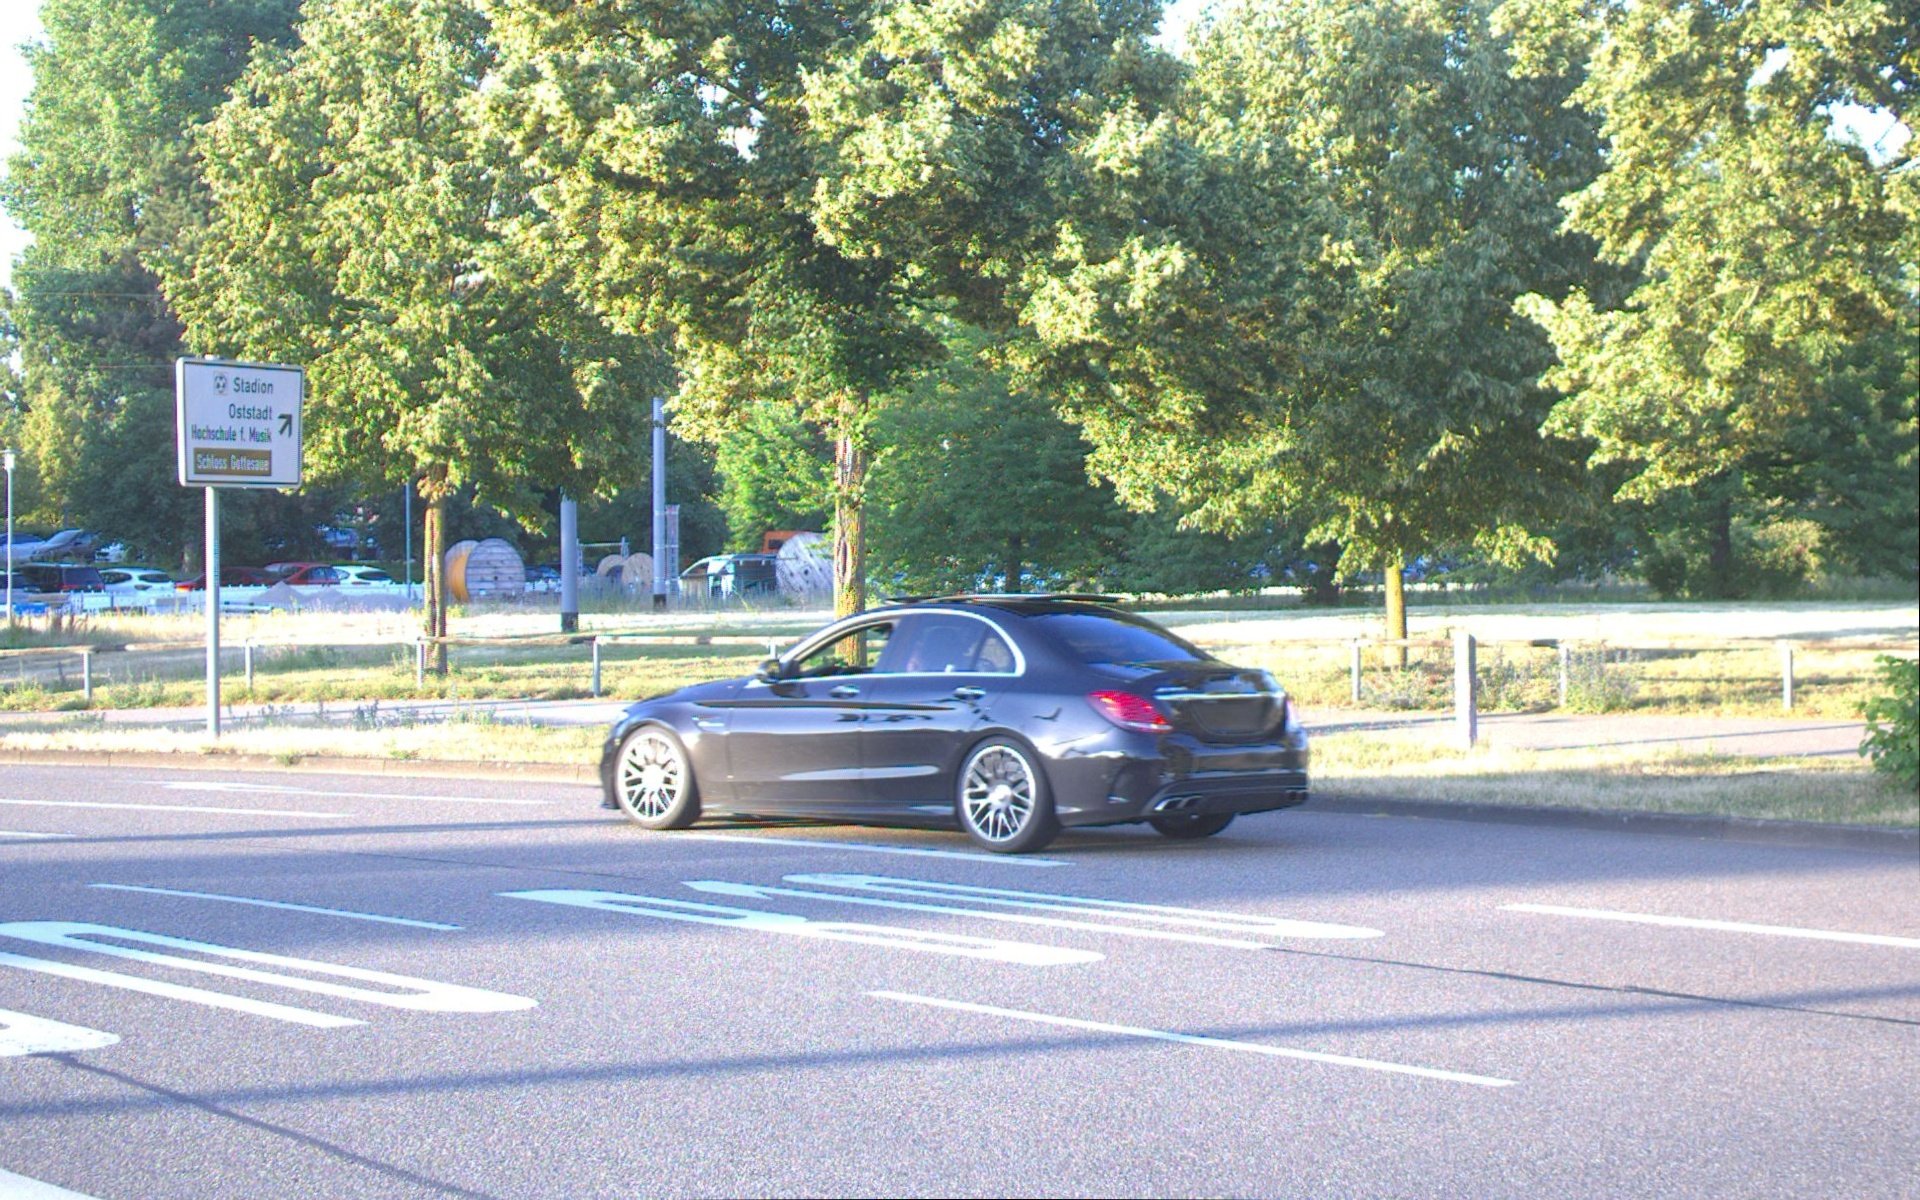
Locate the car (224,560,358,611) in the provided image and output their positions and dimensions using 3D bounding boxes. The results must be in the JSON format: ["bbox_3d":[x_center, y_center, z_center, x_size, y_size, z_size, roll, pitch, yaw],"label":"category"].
[{"bbox_3d":[-21.458,-0.475,110.224,3.995,1.598,1.996,0,1,35],"label":"car"}]

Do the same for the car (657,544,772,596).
[{"bbox_3d":[-7.889,-0.974,110.387,1.734,1.612,3.999,-1,1,-38],"label":"car"}]

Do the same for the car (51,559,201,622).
[{"bbox_3d":[-27.662,-0.323,114.093,4.582,2.007,2.000,0,1,-6],"label":"car"}]

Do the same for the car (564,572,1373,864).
[{"bbox_3d":[-0.041,0.620,20.394,4.617,1.500,1.995,1,0,42],"label":"car"}]

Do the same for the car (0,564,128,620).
[{"bbox_3d":[-26.696,-0.238,101.542,3.995,1.598,1.996,0,1,35],"label":"car"}]

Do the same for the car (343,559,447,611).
[{"bbox_3d":[-20.578,-0.555,125.080,1.994,1.746,4.598,-1,2,-34],"label":"car"}]

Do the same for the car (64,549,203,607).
[{"bbox_3d":[-29.373,-0.800,122.312,4.582,2.007,2.000,0,1,-6],"label":"car"}]

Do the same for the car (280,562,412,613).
[{"bbox_3d":[-19.977,-0.421,111.888,3.995,1.598,1.996,0,1,35],"label":"car"}]

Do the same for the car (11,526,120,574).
[{"bbox_3d":[-37.924,-2.114,145.829,1.998,2.007,3.990,1,1,43],"label":"car"}]

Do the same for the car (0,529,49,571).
[{"bbox_3d":[-41.721,-2.151,148.892,1.998,1.809,3.991,0,1,37],"label":"car"}]

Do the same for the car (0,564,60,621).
[{"bbox_3d":[-28.162,-0.233,99.489,3.995,1.598,1.996,0,1,35],"label":"car"}]

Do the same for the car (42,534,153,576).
[{"bbox_3d":[-35.650,-1.878,142.175,3.988,1.700,1.999,0,1,9],"label":"car"}]
